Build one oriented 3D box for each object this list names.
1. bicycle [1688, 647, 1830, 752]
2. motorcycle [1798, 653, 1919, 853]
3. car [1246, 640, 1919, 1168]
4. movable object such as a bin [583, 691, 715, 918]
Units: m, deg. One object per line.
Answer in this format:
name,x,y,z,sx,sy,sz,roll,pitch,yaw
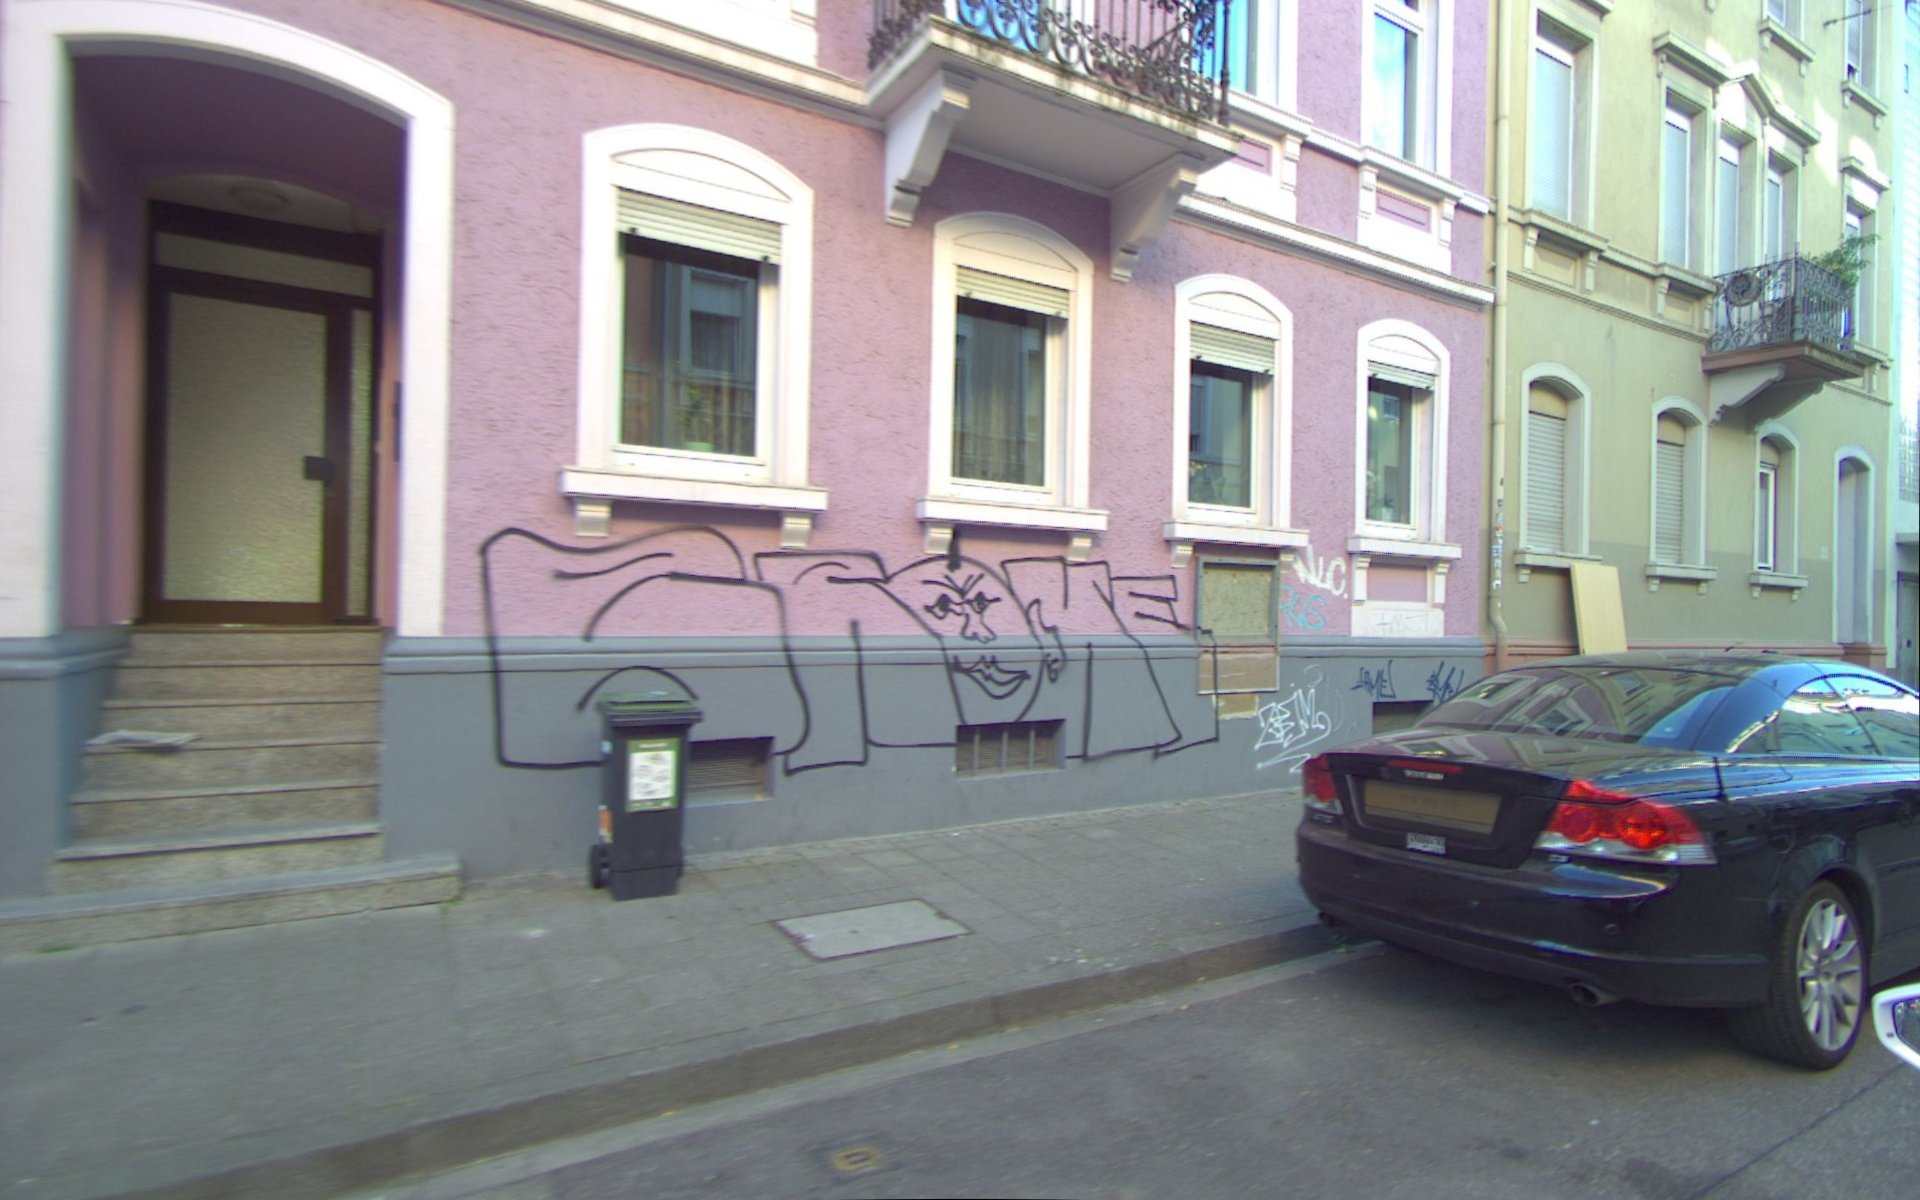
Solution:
bicycle,9.263,1.117,11.618,2.055,1.103,0.589,2,0,-31
motorcycle,7.189,1.051,6.903,2.123,1.377,0.537,-4,-4,42
car,3.526,0.939,4.674,4.302,1.402,1.703,0,-1,-29
movable object such as a bin,-1.505,0.943,4.831,0.481,0.957,0.541,2,0,-30
